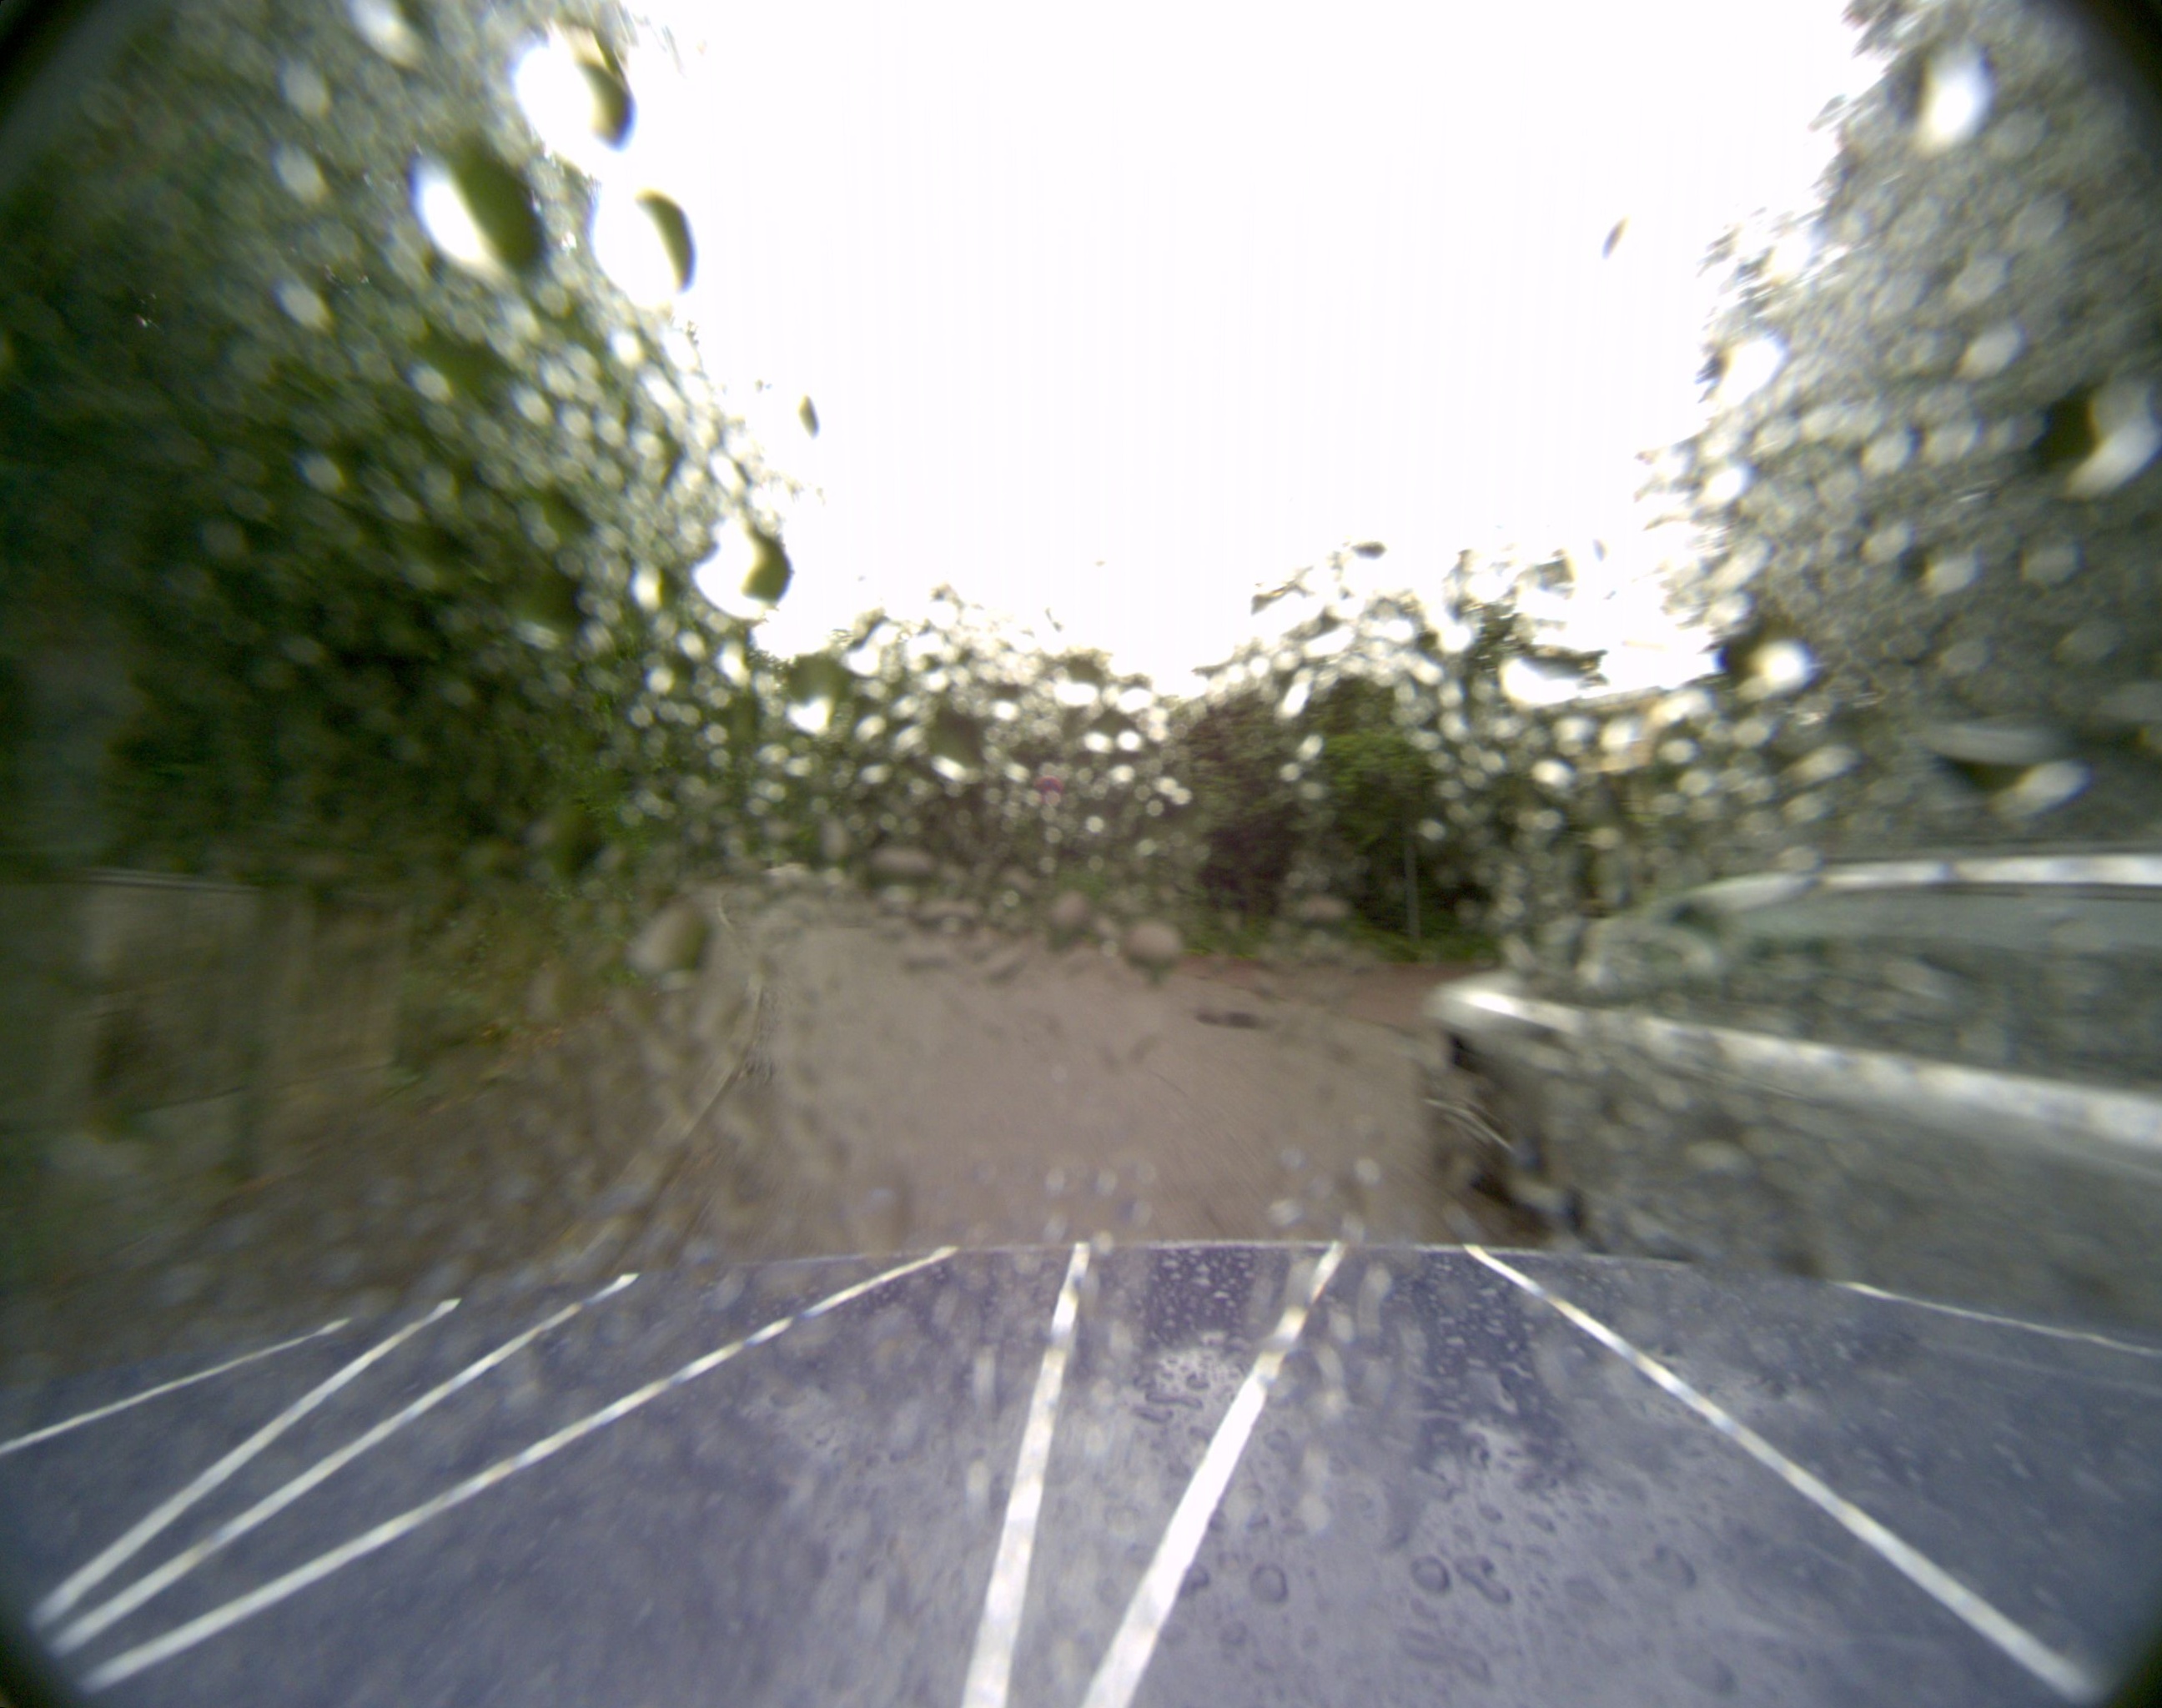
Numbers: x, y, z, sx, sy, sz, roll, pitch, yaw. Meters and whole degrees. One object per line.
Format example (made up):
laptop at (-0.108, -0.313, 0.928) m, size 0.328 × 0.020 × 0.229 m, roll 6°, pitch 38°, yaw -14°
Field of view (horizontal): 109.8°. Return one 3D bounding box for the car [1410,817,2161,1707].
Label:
car at (2.537, 0.715, 1.592) m, size 1.676 × 1.528 × 4.120 m, roll -5°, pitch 0°, yaw -2°
